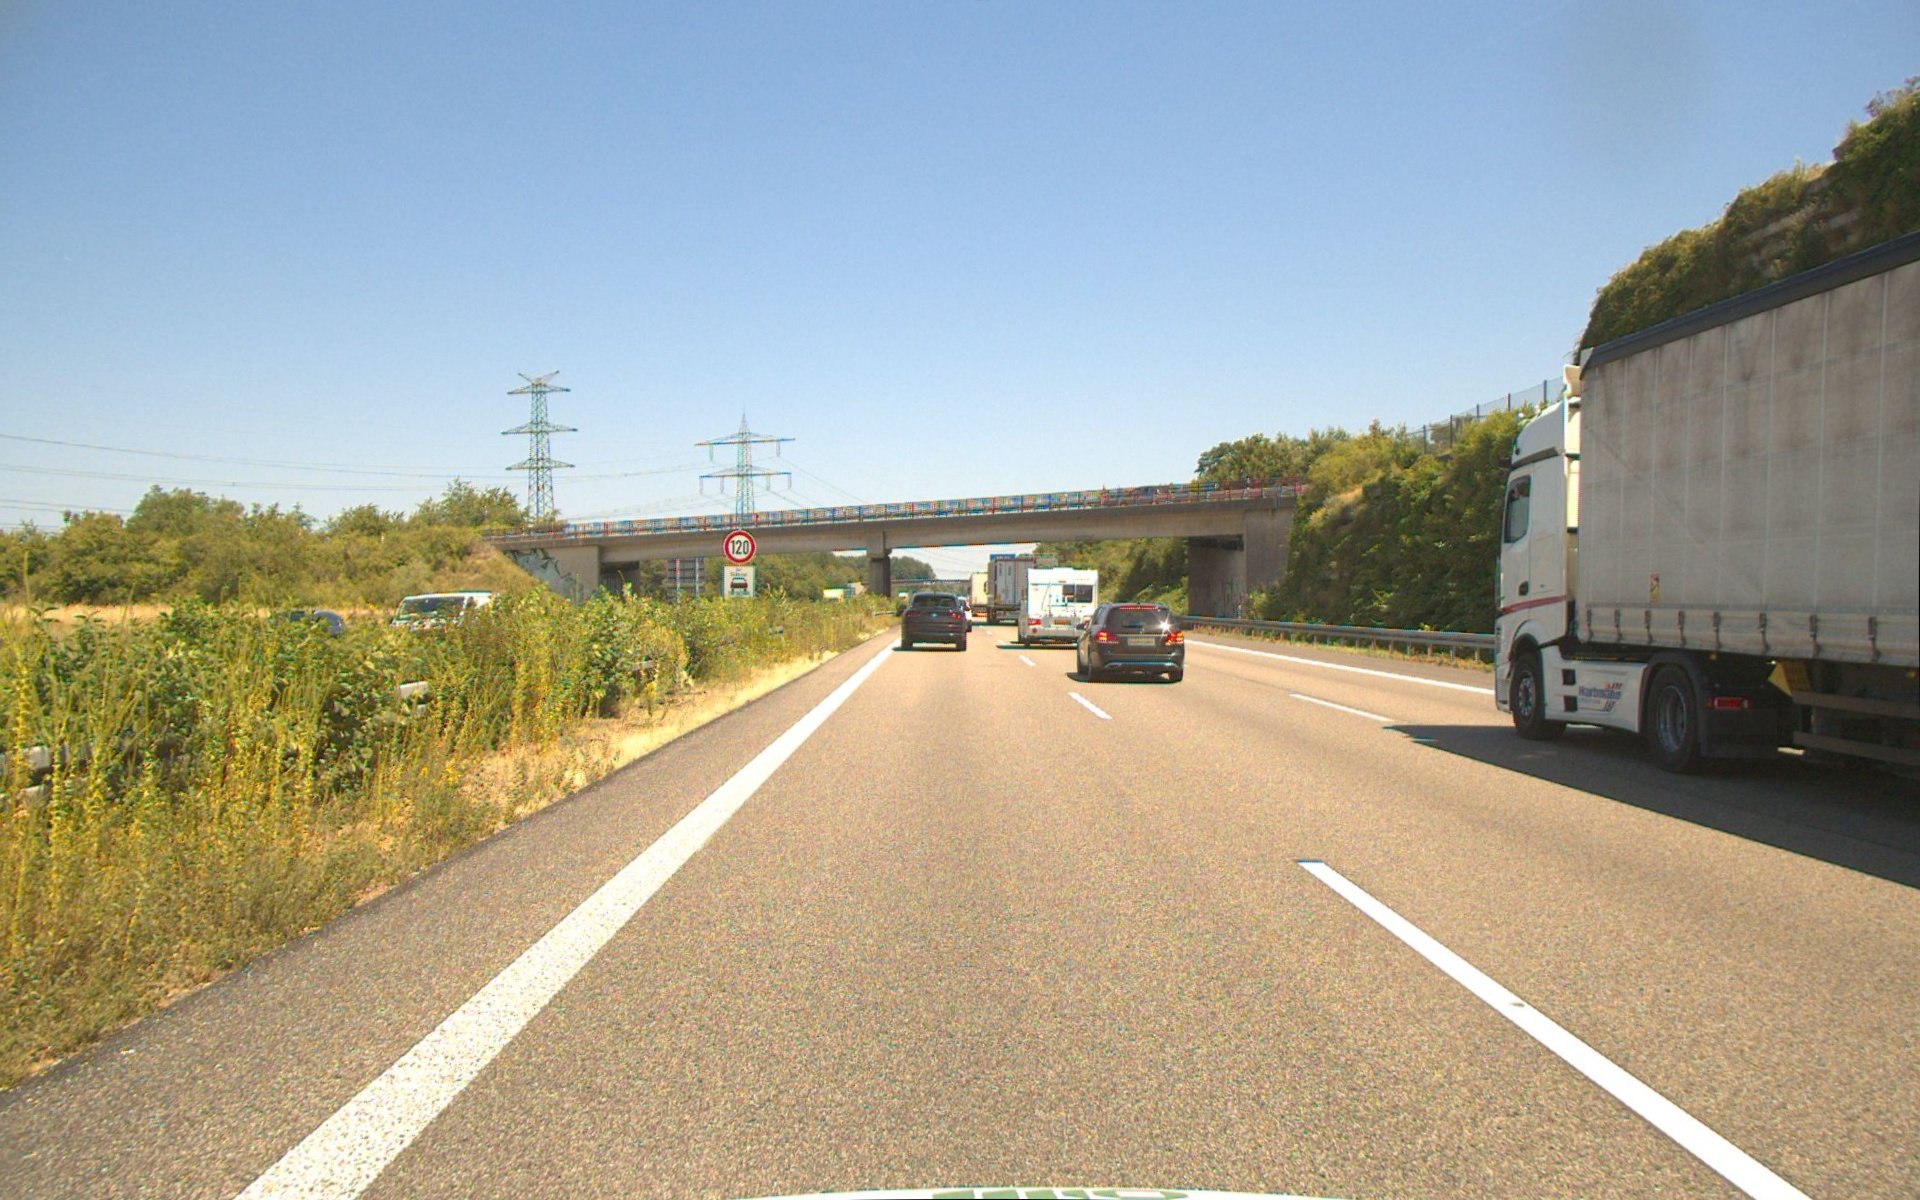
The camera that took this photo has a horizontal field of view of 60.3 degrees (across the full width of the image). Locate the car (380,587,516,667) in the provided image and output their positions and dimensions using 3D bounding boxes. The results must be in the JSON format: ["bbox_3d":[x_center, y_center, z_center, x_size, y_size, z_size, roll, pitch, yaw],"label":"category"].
[{"bbox_3d":[-13.688,0.666,44.647,1.956,2.021,5.837,0,0,-1],"label":"car"}]

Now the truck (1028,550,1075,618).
[{"bbox_3d":[7.009,-1.151,127.437,3.024,4.970,8.797,1,0,0],"label":"truck"}]

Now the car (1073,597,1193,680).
[{"bbox_3d":[3.356,0.705,32.861,1.804,1.532,4.737,0,0,-1],"label":"car"}]

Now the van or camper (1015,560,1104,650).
[{"bbox_3d":[3.175,0.144,54.182,2.389,2.721,6.348,-1,0,-1],"label":"van or camper"}]

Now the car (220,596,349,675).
[{"bbox_3d":[-17.915,0.898,44.062,1.857,2.013,3.986,0,0,-1],"label":"car"}]

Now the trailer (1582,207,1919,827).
[{"bbox_3d":[7.812,-0.563,10.312,2.673,4.174,13.186,0,0,-1],"label":"trailer"}]

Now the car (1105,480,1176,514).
[{"bbox_3d":[11.137,-6.356,102.100,3.914,1.680,1.995,-2,-2,32],"label":"car"}]

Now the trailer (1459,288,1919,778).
[{"bbox_3d":[7.674,-0.574,17.493,2.658,4.174,6.788,0,0,-1],"label":"trailer"}]

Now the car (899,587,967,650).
[{"bbox_3d":[-0.826,0.530,50.172,1.953,1.803,3.999,-1,0,-1],"label":"car"}]

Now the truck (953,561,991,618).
[{"bbox_3d":[1.112,-0.959,156.933,3.440,5.257,10.258,0,0,0],"label":"truck"}]

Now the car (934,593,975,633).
[{"bbox_3d":[-0.284,0.606,80.438,1.922,1.846,4.448,-1,0,-1],"label":"car"}]

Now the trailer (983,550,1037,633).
[{"bbox_3d":[3.095,-0.480,106.321,3.024,4.970,12.257,1,0,0],"label":"trailer"}]
